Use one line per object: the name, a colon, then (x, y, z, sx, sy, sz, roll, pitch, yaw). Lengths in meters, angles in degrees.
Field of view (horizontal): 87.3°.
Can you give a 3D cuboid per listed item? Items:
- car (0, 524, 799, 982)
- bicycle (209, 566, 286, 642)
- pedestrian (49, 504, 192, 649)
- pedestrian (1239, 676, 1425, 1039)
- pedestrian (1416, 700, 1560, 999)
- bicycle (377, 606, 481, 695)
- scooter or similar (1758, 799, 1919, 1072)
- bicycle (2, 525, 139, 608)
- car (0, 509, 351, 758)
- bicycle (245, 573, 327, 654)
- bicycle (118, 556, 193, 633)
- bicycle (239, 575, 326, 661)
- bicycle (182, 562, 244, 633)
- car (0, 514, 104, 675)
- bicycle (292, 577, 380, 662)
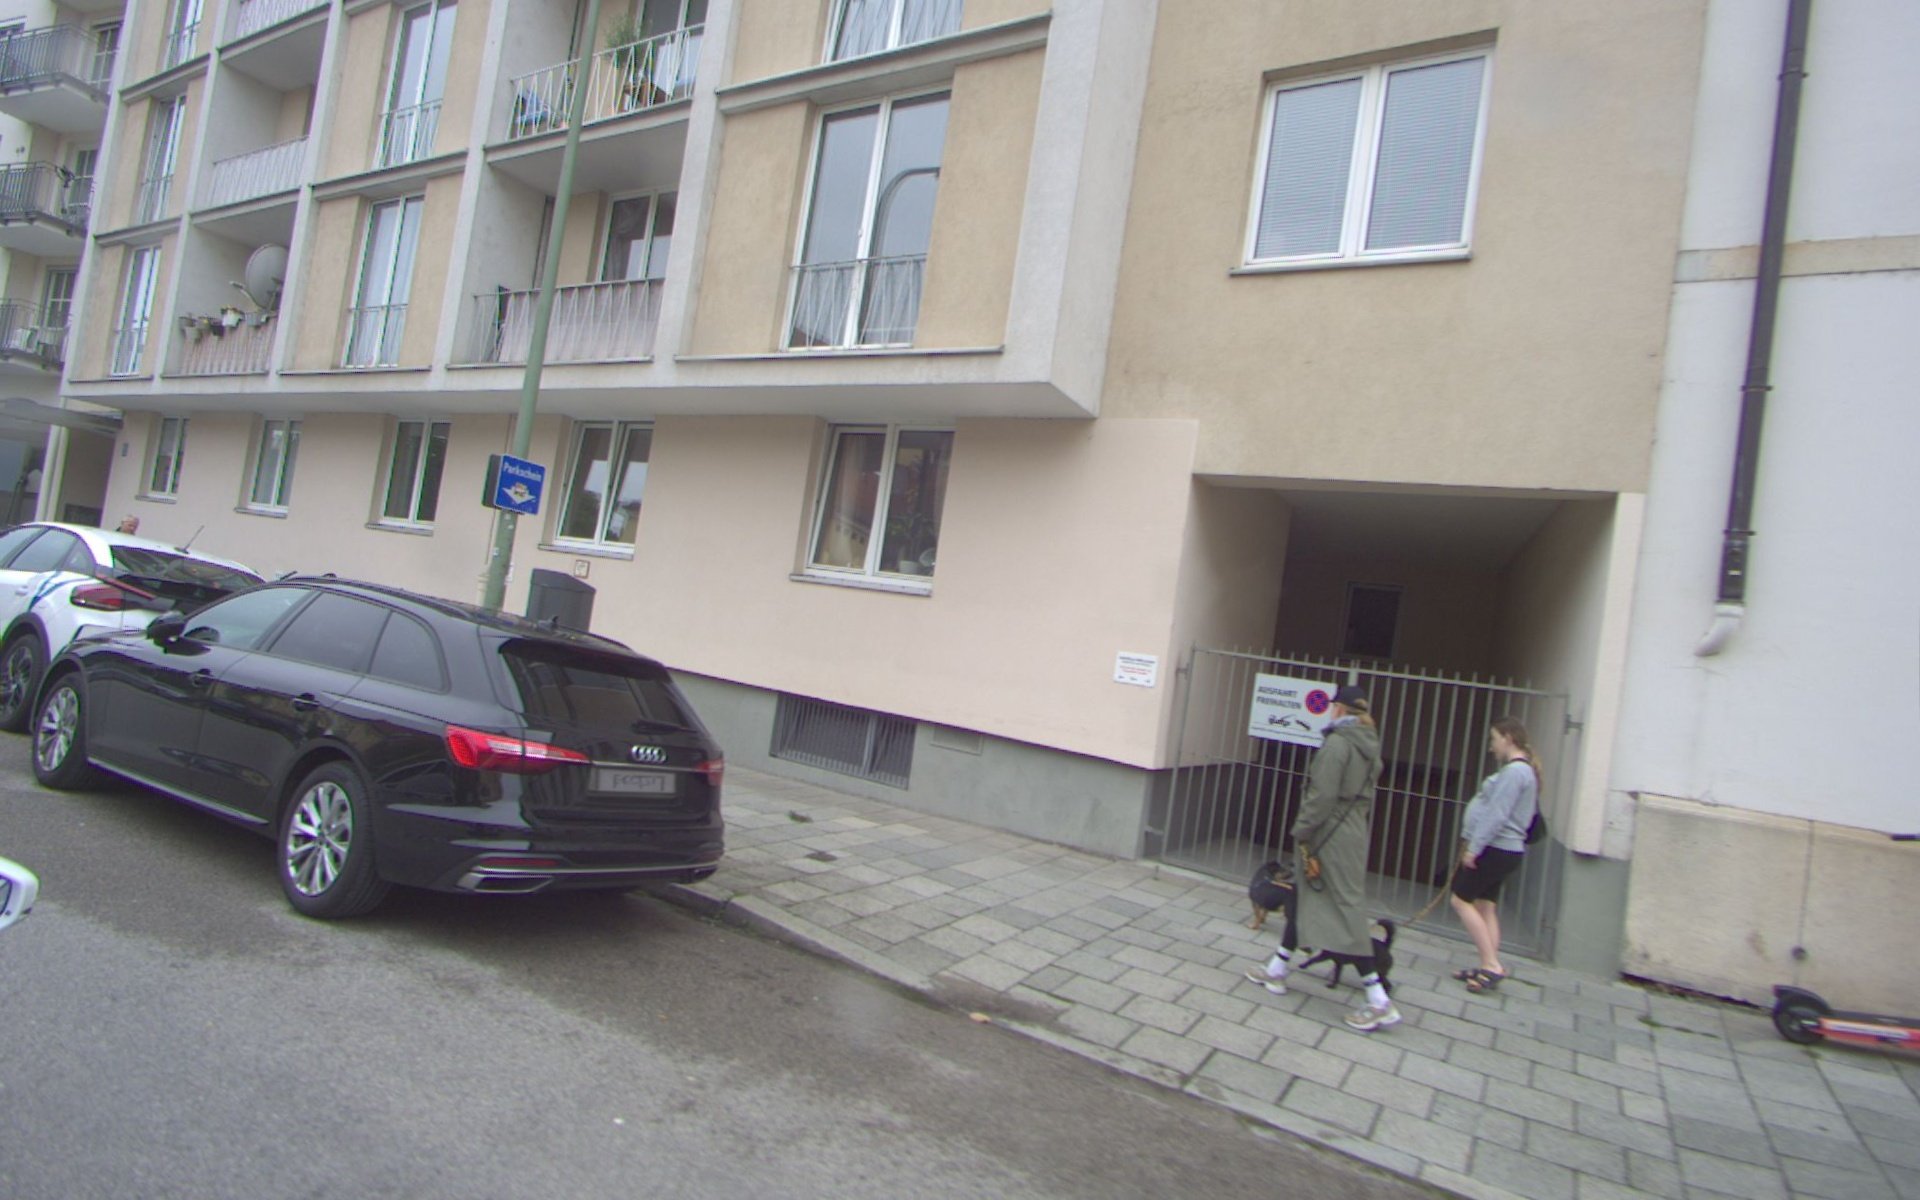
car: (-3.303, 0.639, 5.704, 4.407, 1.434, 1.804, 7, -6, 30)
bicycle: (-11.283, 0.053, 15.920, 1.378, 1.036, 0.390, 7, -1, 32)
pedestrian: (-11.097, -0.308, 13.301, 1.297, 1.707, 0.900, 7, -1, 30)
pedestrian: (1.956, 1.278, 5.267, 0.620, 1.674, 0.597, 7, 1, 32)
pedestrian: (3.159, 1.438, 6.011, 0.551, 1.604, 0.532, 7, 1, 32)
bicycle: (-6.812, 0.639, 12.891, 1.378, 0.947, 0.445, 7, -1, 32)
scooter or similar: (5.101, 1.817, 5.457, 1.020, 1.267, 0.601, 4, -2, 23)
bicycle: (-16.504, -0.620, 18.655, 2.169, 1.199, 1.150, 7, -3, 30)
car: (-7.262, 0.161, 8.417, 4.148, 1.514, 1.746, 7, -5, 30)
bicycle: (-10.123, 0.192, 15.096, 1.378, 1.036, 0.390, 7, -1, 32)
bicycle: (-12.567, -0.090, 15.705, 1.280, 1.036, 0.424, 7, -1, 32)
bicycle: (-9.553, 0.248, 14.167, 1.378, 1.036, 0.390, 7, -1, 32)
bicycle: (-12.296, -0.041, 16.550, 0.985, 1.036, 0.374, 7, 0, 31)
car: (-11.459, -0.337, 10.932, 4.419, 1.514, 1.746, 7, -5, 30)
bicycle: (-8.880, 0.272, 14.295, 1.378, 1.036, 0.390, 7, -1, 32)
